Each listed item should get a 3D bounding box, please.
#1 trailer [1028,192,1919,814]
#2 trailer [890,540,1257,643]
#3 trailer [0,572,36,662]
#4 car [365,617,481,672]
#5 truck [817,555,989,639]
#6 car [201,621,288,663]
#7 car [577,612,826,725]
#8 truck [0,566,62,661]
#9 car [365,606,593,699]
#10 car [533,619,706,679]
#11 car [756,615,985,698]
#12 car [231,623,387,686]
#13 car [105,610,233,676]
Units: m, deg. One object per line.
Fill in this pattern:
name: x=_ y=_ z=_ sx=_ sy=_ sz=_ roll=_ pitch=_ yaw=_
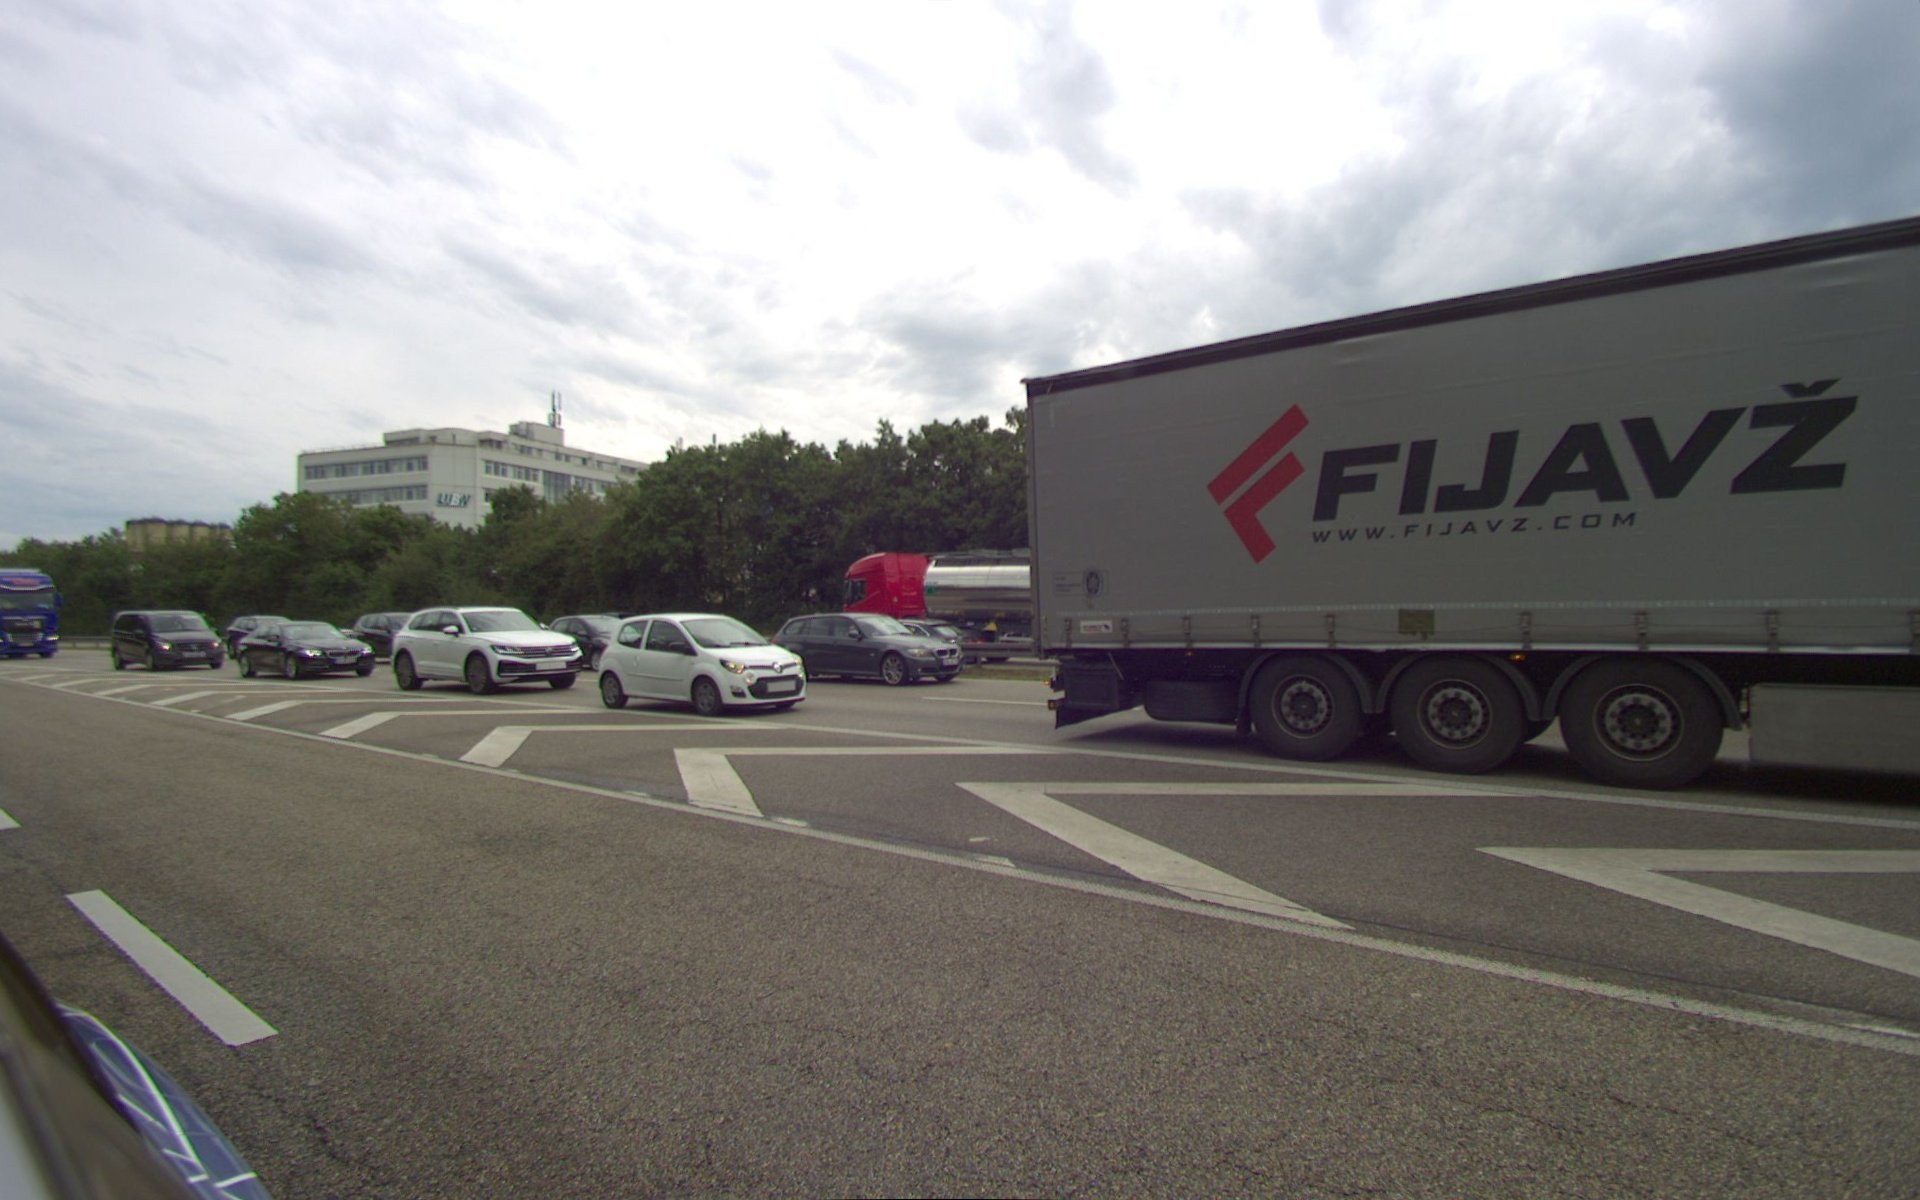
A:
trailer: x=6.902 y=-0.643 z=8.212 sx=13.079 sy=4.066 sz=3.267 roll=-1 pitch=0 yaw=38
trailer: x=3.018 y=-0.175 z=30.751 sx=11.352 sy=2.691 sz=2.449 roll=-1 pitch=0 yaw=36
trailer: x=-48.896 y=0.852 z=48.927 sx=13.416 sy=4.053 sz=2.607 roll=-1 pitch=0 yaw=32
car: x=-17.140 y=1.402 z=32.244 sx=3.990 sy=1.624 sz=1.631 roll=-2 pitch=-2 yaw=34
truck: x=-1.991 y=-0.081 z=34.427 sx=5.679 sy=2.641 sz=2.304 roll=-1 pitch=0 yaw=36
car: x=-28.554 y=1.668 z=40.354 sx=3.992 sy=1.586 sz=1.671 roll=-2 pitch=-1 yaw=36
car: x=-4.008 y=0.971 z=15.389 sx=4.031 sy=1.502 sz=1.562 roll=-2 pitch=-2 yaw=38
truck: x=-43.325 y=0.610 z=45.472 sx=6.563 sy=4.073 sz=2.543 roll=-1 pitch=0 yaw=30
car: x=-9.884 y=1.019 z=20.592 sx=5.369 sy=1.673 sz=1.893 roll=-2 pitch=-1 yaw=36
car: x=-9.063 y=1.276 z=26.731 sx=4.799 sy=1.425 sz=1.975 roll=-2 pitch=-1 yaw=37
car: x=-1.892 y=1.062 z=20.389 sx=4.695 sy=1.459 sz=1.697 roll=-1 pitch=0 yaw=38
car: x=-17.102 y=1.358 z=26.503 sx=4.821 sy=1.471 sz=1.831 roll=-1 pitch=0 yaw=36
car: x=-25.587 y=1.370 z=32.689 sx=5.070 sy=1.920 sz=1.975 roll=-2 pitch=0 yaw=37
